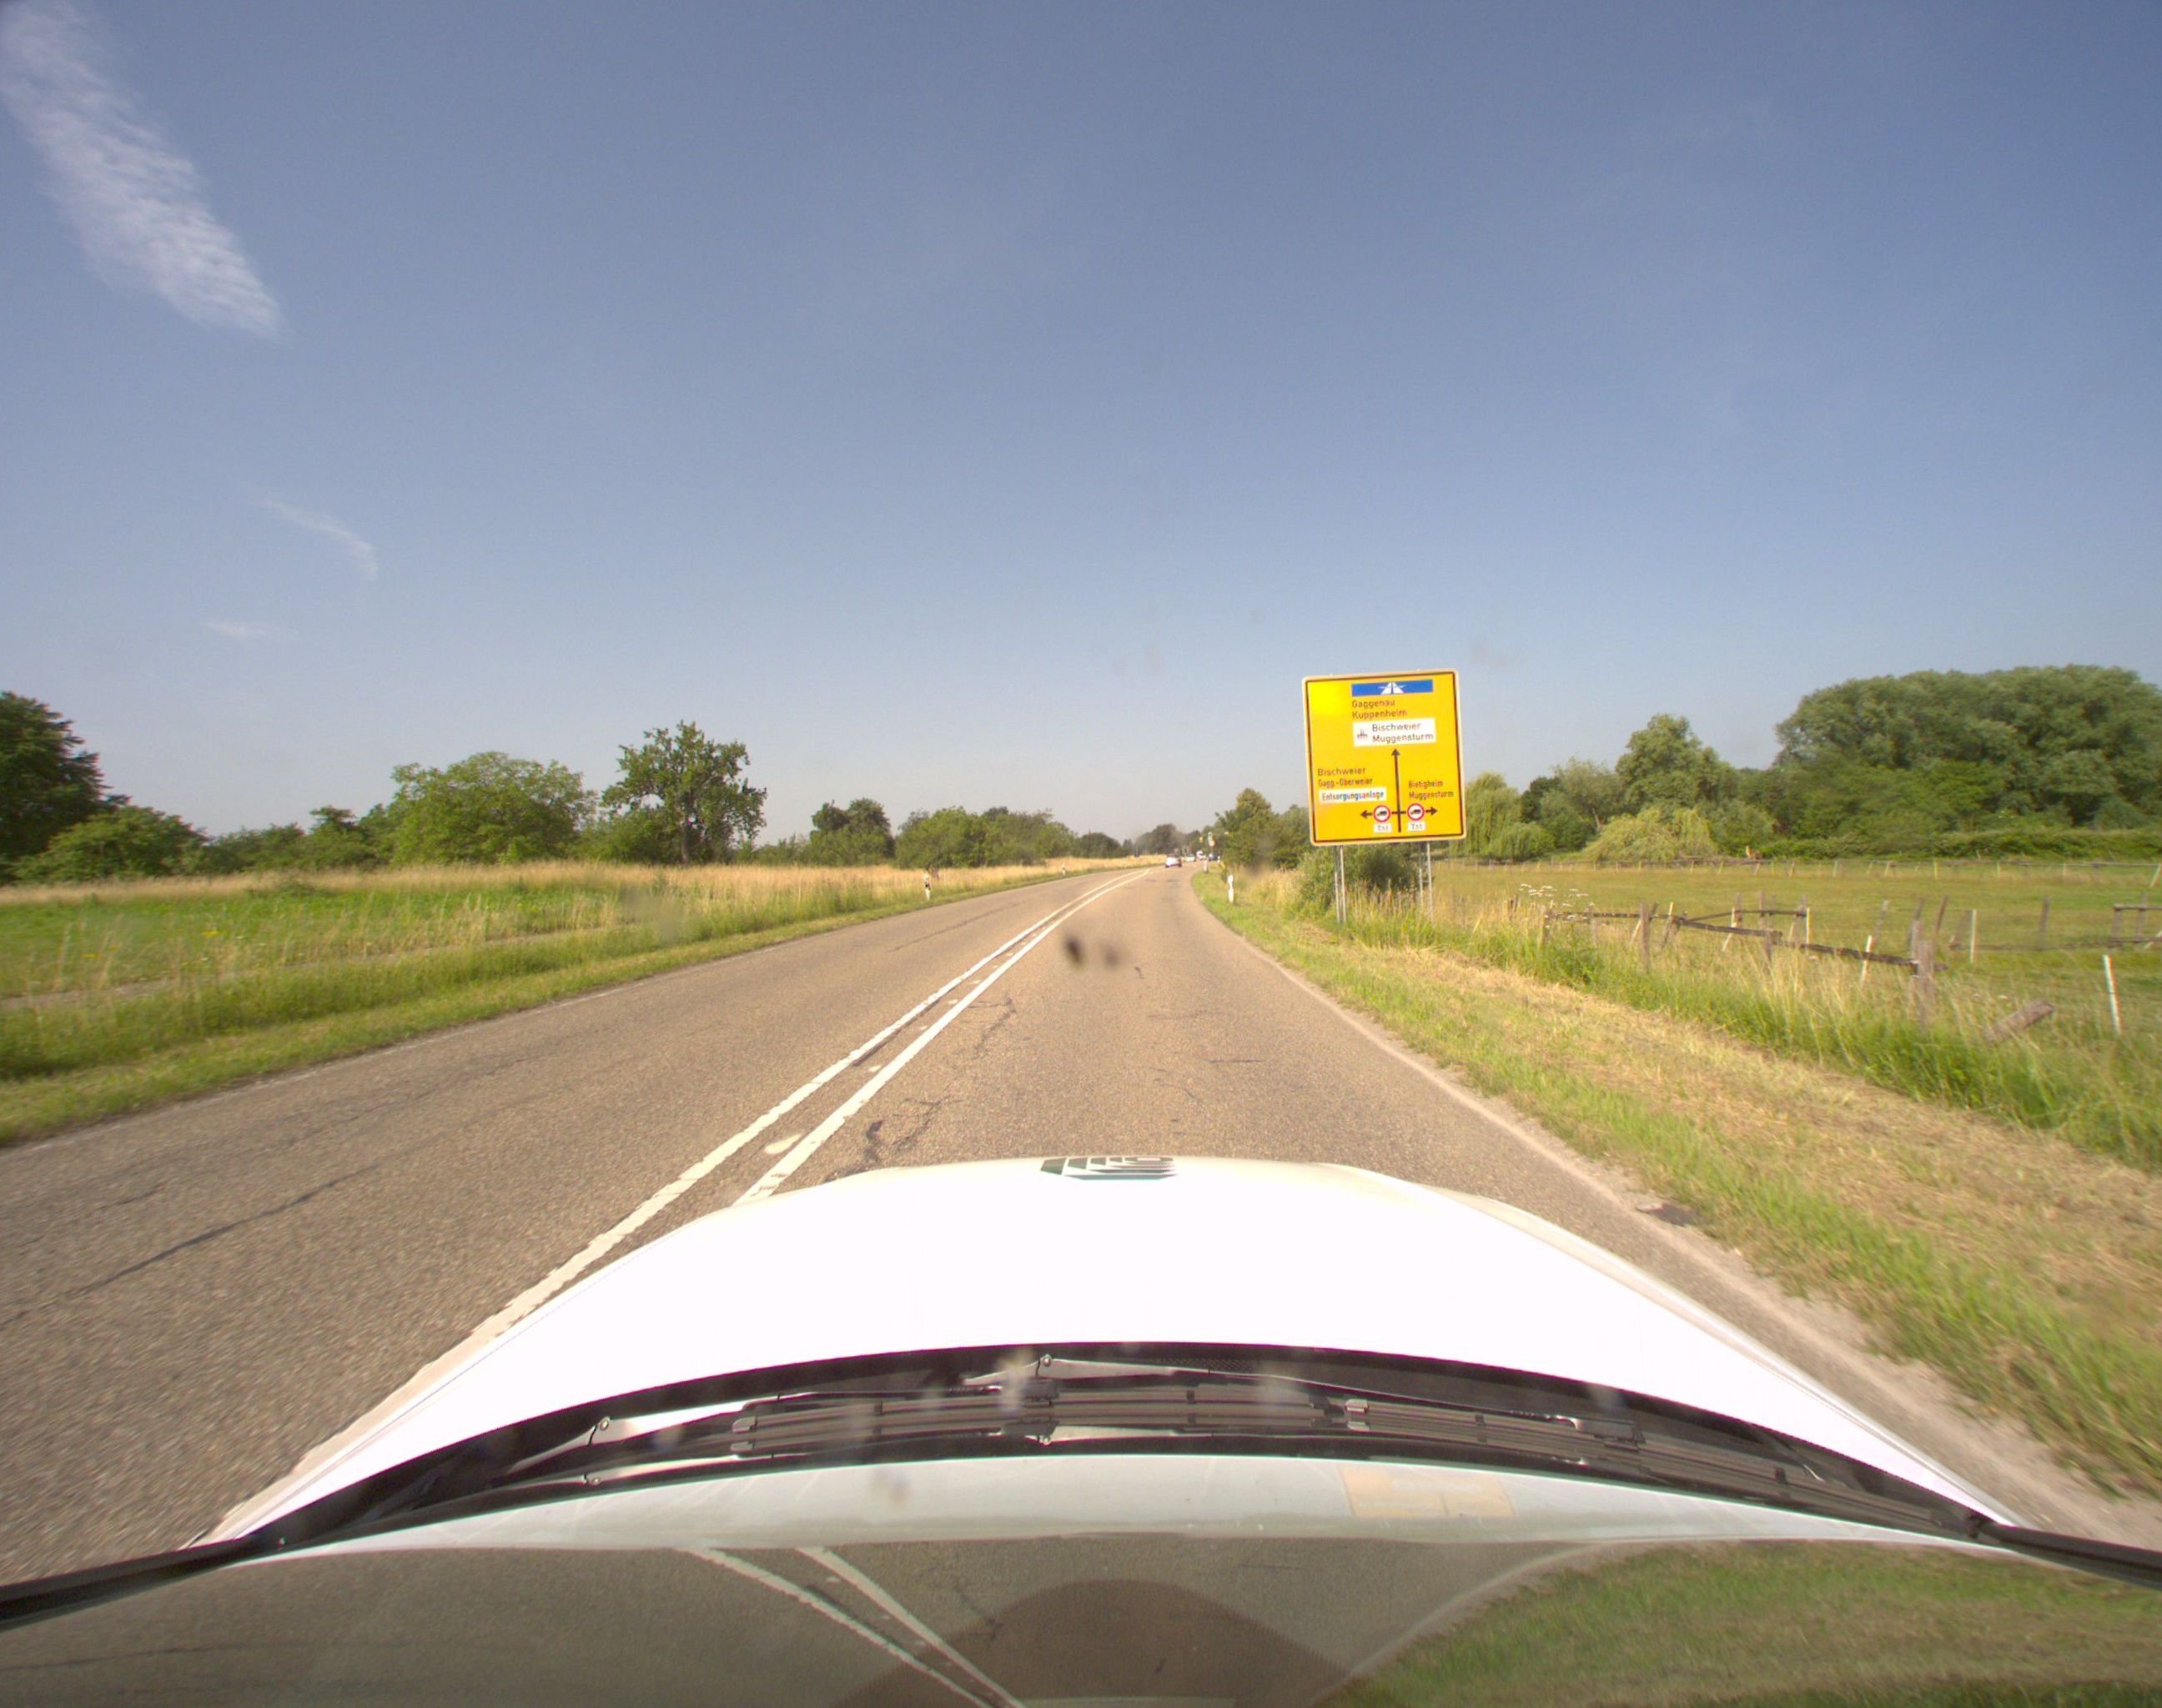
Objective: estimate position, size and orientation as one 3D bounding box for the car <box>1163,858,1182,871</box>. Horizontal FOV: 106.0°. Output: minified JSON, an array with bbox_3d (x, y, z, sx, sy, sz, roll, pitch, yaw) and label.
[{"bbox_3d":[11.111,1.220,98.635,1.886,1.512,4.013,0,0,12],"label":"car"}]

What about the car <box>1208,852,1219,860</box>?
[{"bbox_3d":[25.137,0.337,154.877,1.804,1.520,4.014,-3,0,12],"label":"car"}]

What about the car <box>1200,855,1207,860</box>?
[{"bbox_3d":[37.671,1.094,249.736,1.823,1.694,3.872,-2,0,13],"label":"car"}]

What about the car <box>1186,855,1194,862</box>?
[{"bbox_3d":[24.629,1.066,183.602,1.802,1.585,4.234,-3,-1,8],"label":"car"}]
